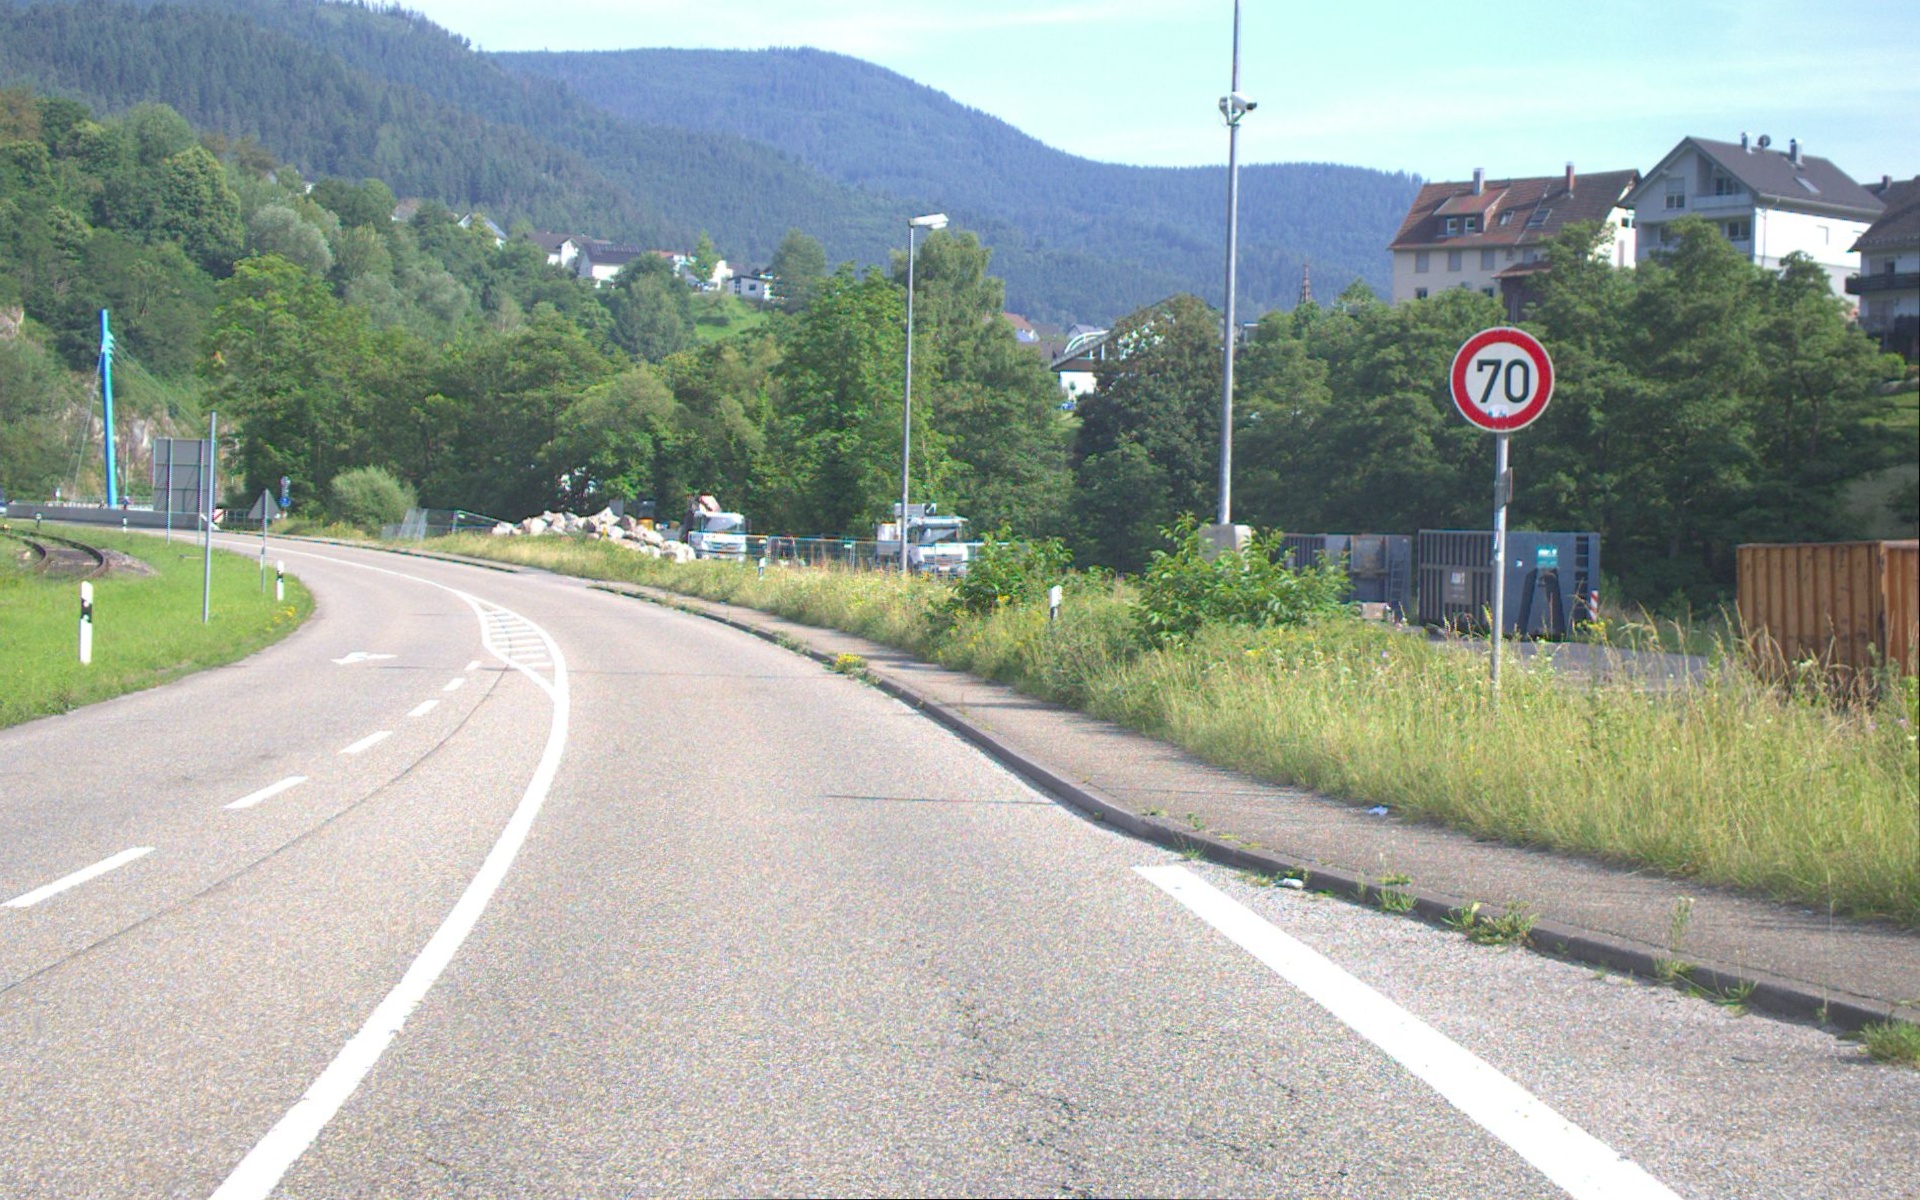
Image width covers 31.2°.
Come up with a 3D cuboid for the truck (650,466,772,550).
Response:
[{"bbox_3d":[-11.929,-4.433,163.897,3.102,3.769,8.647,2,2,-23],"label":"truck"}]

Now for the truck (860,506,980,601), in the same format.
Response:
[{"bbox_3d":[-1.792,-2.056,147.707,3.102,3.769,8.648,2,1,-14],"label":"truck"}]

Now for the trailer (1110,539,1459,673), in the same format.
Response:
[{"bbox_3d":[4.487,0.002,50.065,2.791,1.469,9.890,3,1,-8],"label":"trailer"}]
